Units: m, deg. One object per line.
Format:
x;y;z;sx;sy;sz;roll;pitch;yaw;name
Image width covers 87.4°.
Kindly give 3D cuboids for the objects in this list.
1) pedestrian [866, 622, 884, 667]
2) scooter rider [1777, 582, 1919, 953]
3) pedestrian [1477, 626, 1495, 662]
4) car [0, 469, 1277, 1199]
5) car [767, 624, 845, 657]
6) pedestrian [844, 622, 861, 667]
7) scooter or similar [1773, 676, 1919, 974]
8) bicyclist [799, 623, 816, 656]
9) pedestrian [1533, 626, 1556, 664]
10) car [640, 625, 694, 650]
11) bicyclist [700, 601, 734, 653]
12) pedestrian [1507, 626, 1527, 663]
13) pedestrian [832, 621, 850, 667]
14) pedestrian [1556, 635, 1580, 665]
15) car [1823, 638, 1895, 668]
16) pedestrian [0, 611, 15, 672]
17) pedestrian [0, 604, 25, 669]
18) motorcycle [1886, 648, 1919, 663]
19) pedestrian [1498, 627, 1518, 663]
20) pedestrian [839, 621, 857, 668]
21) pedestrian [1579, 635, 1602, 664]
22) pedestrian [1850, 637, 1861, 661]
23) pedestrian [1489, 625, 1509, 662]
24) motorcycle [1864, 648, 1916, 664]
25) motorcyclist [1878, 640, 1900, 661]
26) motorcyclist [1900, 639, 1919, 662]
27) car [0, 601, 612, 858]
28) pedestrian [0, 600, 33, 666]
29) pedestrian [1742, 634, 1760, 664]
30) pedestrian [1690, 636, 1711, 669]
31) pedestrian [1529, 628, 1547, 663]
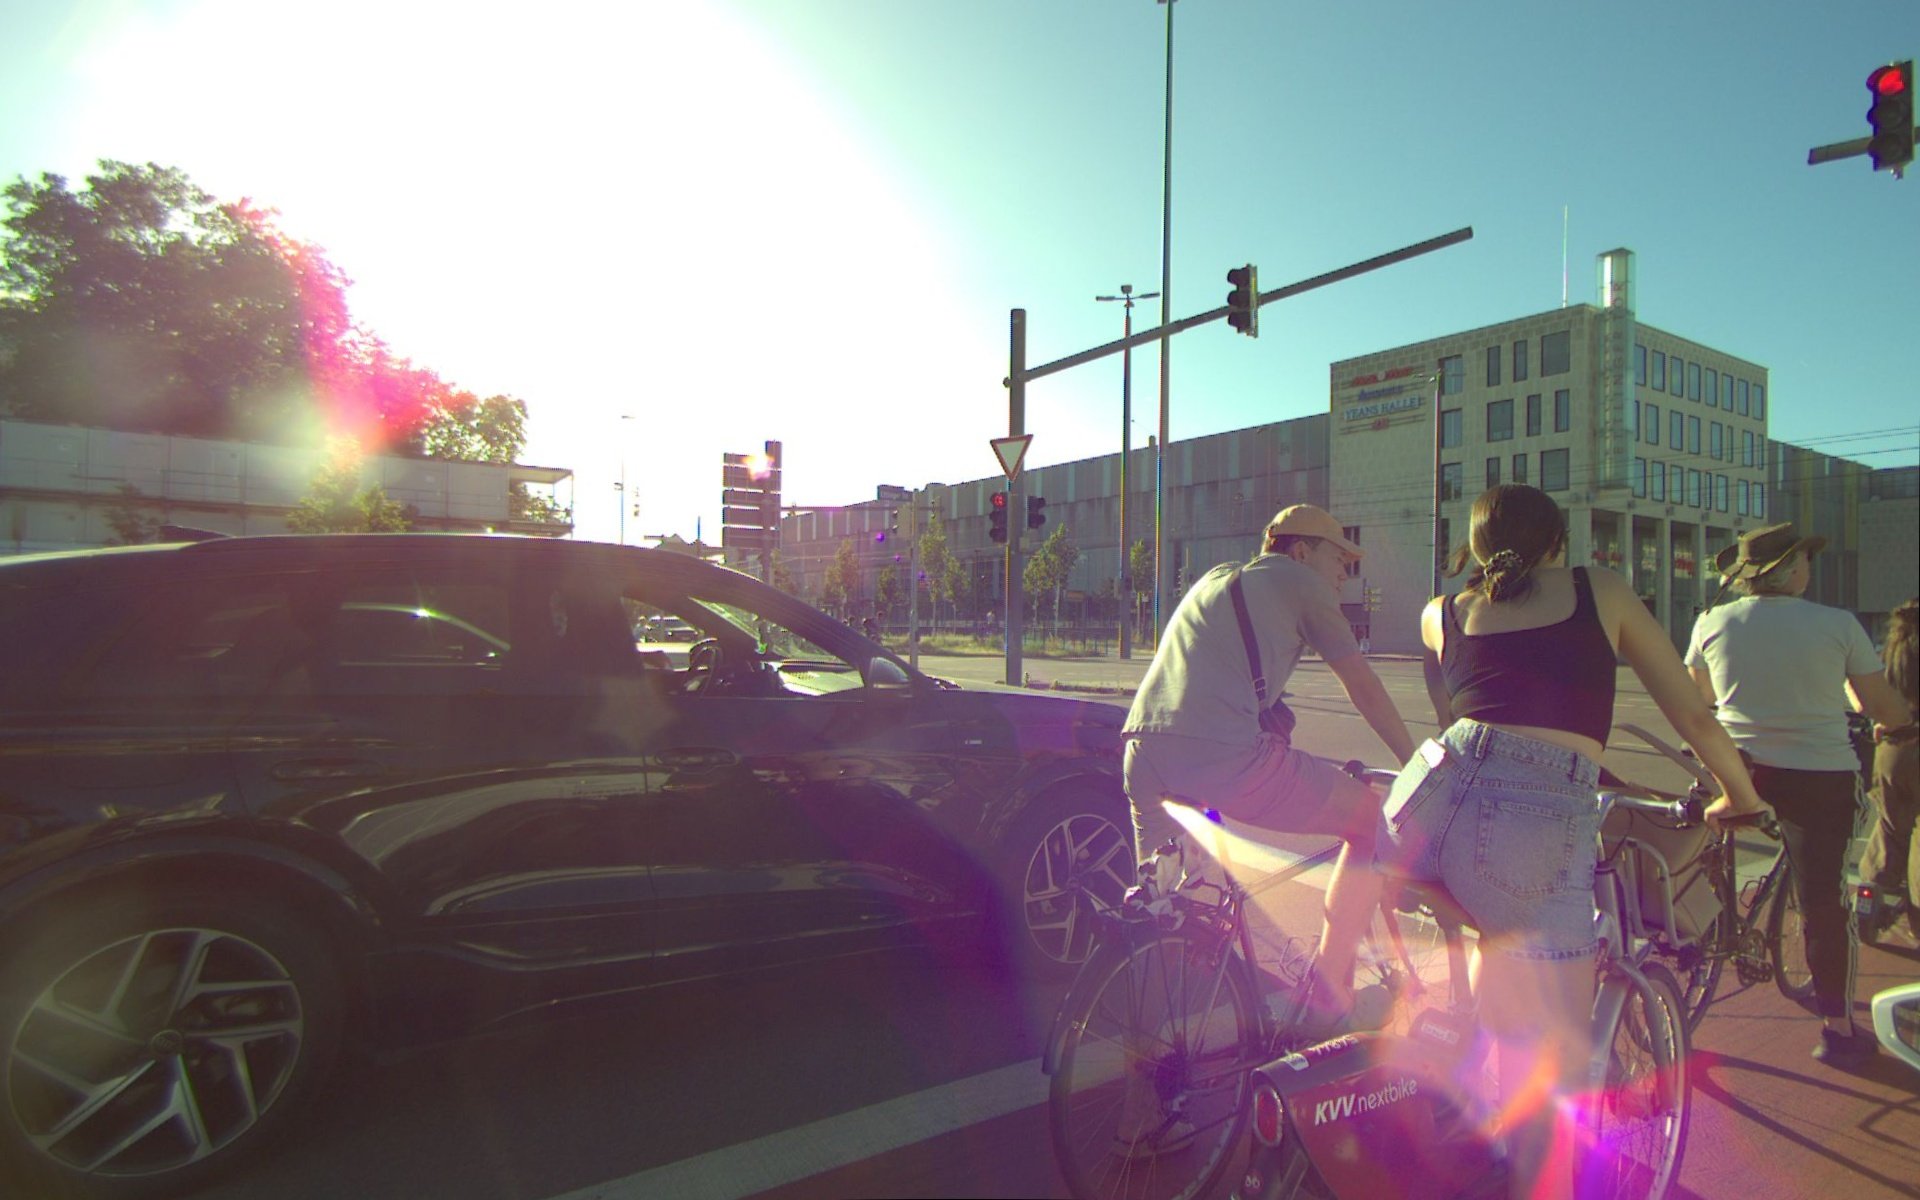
-2.979;1.553;35.341;0.446;1.587;0.516;1;-1;-30;pedestrian
4.430;0.717;4.687;1.105;1.564;0.638;1;0;-33;scooter rider
32.301;2.682;61.635;0.883;2.152;0.944;0;-1;34;pedestrian
-1.156;0.612;4.102;4.740;1.684;2.182;1;-1;-33;car
-6.952;1.776;45.126;1.980;1.394;3.962;0;-1;-34;car
-3.846;1.573;35.936;0.446;1.587;0.516;1;-1;-30;pedestrian
4.565;0.995;4.796;1.468;1.191;0.638;1;0;-33;scooter or similar
-6.005;1.548;39.523;0.627;1.287;0.803;0;0;-14;bicyclist
33.973;2.608;58.382;1.043;2.157;1.097;0;-1;25;pedestrian
-17.256;2.178;59.053;1.980;1.394;3.962;0;-1;-34;car
-7.358;0.821;30.435;0.927;1.565;0.646;0;-1;-21;bicyclist
32.445;2.581;58.520;0.881;2.152;0.946;0;-1;24;pedestrian
-4.128;1.516;34.905;0.446;1.587;0.516;1;-1;-30;pedestrian
35.369;2.906;58.456;0.988;1.672;0.948;1;-1;21;pedestrian
49.844;2.905;55.681;4.247;1.602;1.927;1;-2;-32;car
-23.559;0.996;24.457;0.646;1.472;0.599;1;-1;-30;pedestrian
-24.002;0.915;25.148;0.646;1.610;0.834;1;-1;-30;pedestrian
70.690;4.170;74.650;0.908;1.009;2.649;2;0;-36;motorcycle
33.188;2.704;60.842;0.885;2.152;0.942;0;-1;41;pedestrian
-3.822;1.522;34.356;0.446;1.587;0.516;1;-1;-30;pedestrian
35.448;2.766;56.447;0.927;1.592;0.842;1;-1;19;pedestrian
79.891;4.368;89.618;0.475;2.040;0.610;2;0;-44;pedestrian
32.144;2.604;59.910;0.885;2.152;0.942;0;-1;41;pedestrian
67.670;4.071;73.074;0.908;1.009;2.649;2;0;-36;motorcycle
67.624;3.666;73.133;0.908;1.490;1.029;2;0;-37;motorcyclist
70.726;3.739;74.636;0.908;1.596;1.129;2;0;-37;motorcyclist
-4.820;0.726;6.667;4.475;1.370;1.762;2;-1;-32;car
-24.604;0.853;26.031;0.646;1.702;0.834;1;-1;-30;pedestrian
55.656;3.434;70.650;0.933;2.008;1.004;0;-1;36;pedestrian
40.882;2.887;55.445;0.748;1.763;0.746;1;-1;-32;pedestrian
34.481;2.705;59.908;0.900;2.040;1.022;0;-1;29;pedestrian
